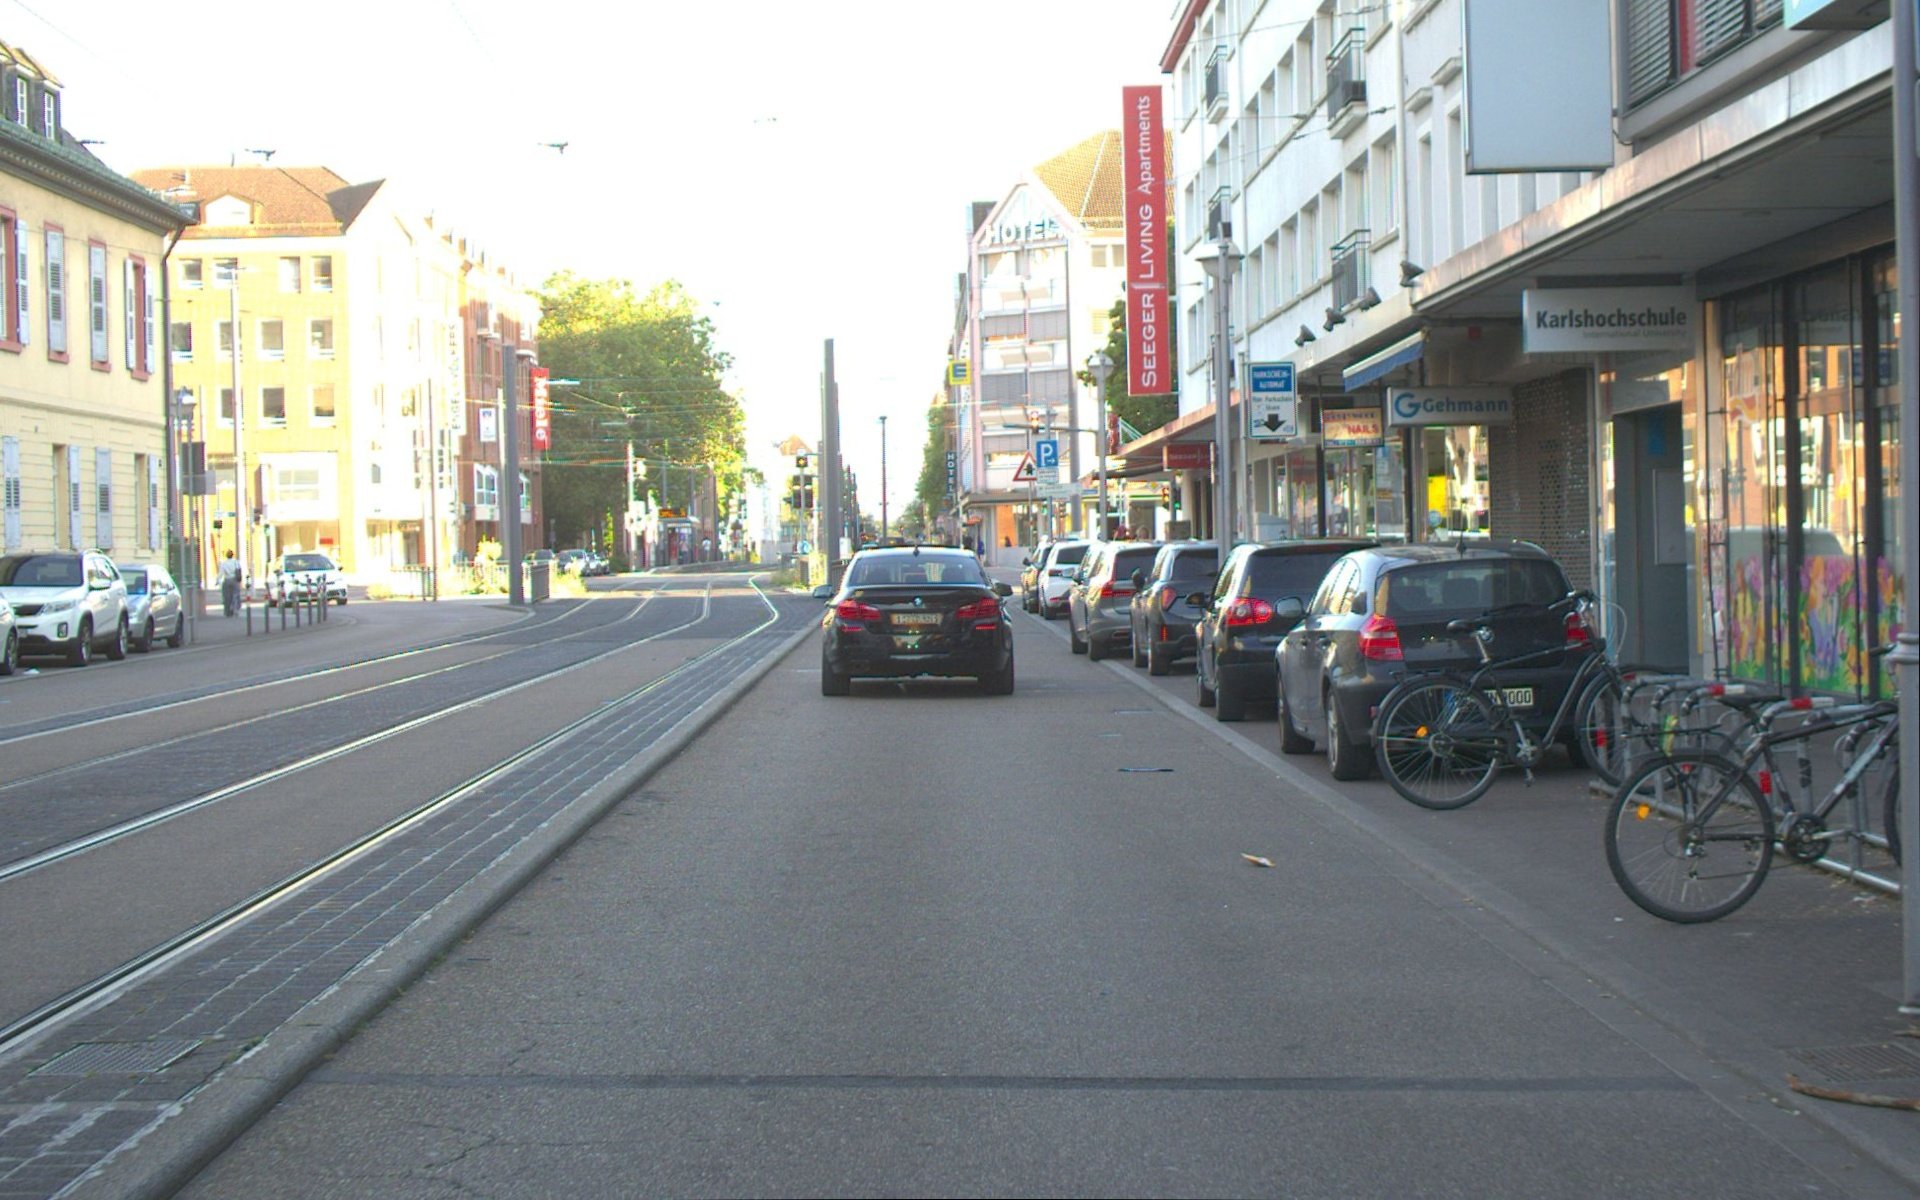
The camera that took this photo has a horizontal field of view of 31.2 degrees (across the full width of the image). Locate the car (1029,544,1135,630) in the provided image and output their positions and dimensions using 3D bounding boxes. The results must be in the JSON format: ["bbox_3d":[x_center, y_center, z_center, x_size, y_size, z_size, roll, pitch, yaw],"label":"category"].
[{"bbox_3d":[2.272,-0.271,64.928,1.785,1.507,4.052,-3,1,0],"label":"car"}]

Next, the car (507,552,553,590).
[{"bbox_3d":[-22.395,-1.535,179.247,1.993,1.895,4.812,-1,1,-3],"label":"car"}]

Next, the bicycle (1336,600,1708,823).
[{"bbox_3d":[3.062,0.600,18.819,1.885,1.134,0.676,-2,1,-3],"label":"bicycle"}]

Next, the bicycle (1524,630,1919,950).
[{"bbox_3d":[3.178,0.695,13.070,1.885,1.073,0.676,-3,1,-3],"label":"bicycle"}]

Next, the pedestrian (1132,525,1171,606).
[{"bbox_3d":[4.248,-0.767,76.206,0.728,1.735,0.863,-3,1,0],"label":"pedestrian"}]

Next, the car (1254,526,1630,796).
[{"bbox_3d":[3.005,0.323,22.255,1.744,1.507,4.258,-3,1,0],"label":"car"}]

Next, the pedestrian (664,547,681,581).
[{"bbox_3d":[-17.093,-2.124,204.320,0.988,2.007,0.726,1,0,-2],"label":"pedestrian"}]

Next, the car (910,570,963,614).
[{"bbox_3d":[-0.860,-0.314,127.374,1.812,1.507,4.432,-1,1,1],"label":"car"}]

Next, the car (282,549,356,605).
[{"bbox_3d":[-17.906,-0.663,96.168,1.806,1.507,4.036,-1,1,-8],"label":"car"}]

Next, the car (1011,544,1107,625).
[{"bbox_3d":[1.988,-0.342,70.072,1.735,1.507,4.686,-3,1,0],"label":"car"}]

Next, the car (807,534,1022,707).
[{"bbox_3d":[-0.464,0.160,34.532,1.993,1.579,4.000,-2,1,-1],"label":"car"}]

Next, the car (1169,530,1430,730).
[{"bbox_3d":[2.816,0.205,29.308,1.720,1.507,4.167,-3,1,0],"label":"car"}]

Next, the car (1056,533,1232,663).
[{"bbox_3d":[2.311,-0.064,44.271,1.790,1.507,4.712,-3,1,-2],"label":"car"}]

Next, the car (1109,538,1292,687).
[{"bbox_3d":[2.644,0.101,38.605,1.685,1.507,4.035,-3,1,0],"label":"car"}]

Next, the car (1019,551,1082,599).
[{"bbox_3d":[3.059,-0.871,116.893,1.993,1.546,4.000,-1,1,-1],"label":"car"}]

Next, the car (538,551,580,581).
[{"bbox_3d":[-22.068,-1.870,189.416,1.993,1.579,4.588,-1,1,-3],"label":"car"}]

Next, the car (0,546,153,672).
[{"bbox_3d":[-13.745,0.101,51.968,1.812,1.779,4.497,2,1,2],"label":"car"}]

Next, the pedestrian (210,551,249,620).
[{"bbox_3d":[-17.106,-0.345,80.515,0.731,1.579,0.955,-1,1,-5],"label":"pedestrian"}]

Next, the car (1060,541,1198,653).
[{"bbox_3d":[2.453,-0.081,50.770,1.735,1.507,4.303,-3,1,0],"label":"car"}]

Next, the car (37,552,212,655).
[{"bbox_3d":[-13.951,0.026,57.621,1.812,1.612,4.215,-1,1,1],"label":"car"}]

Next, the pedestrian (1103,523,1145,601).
[{"bbox_3d":[3.693,-0.850,77.436,0.827,1.712,0.843,-3,1,0],"label":"pedestrian"}]
